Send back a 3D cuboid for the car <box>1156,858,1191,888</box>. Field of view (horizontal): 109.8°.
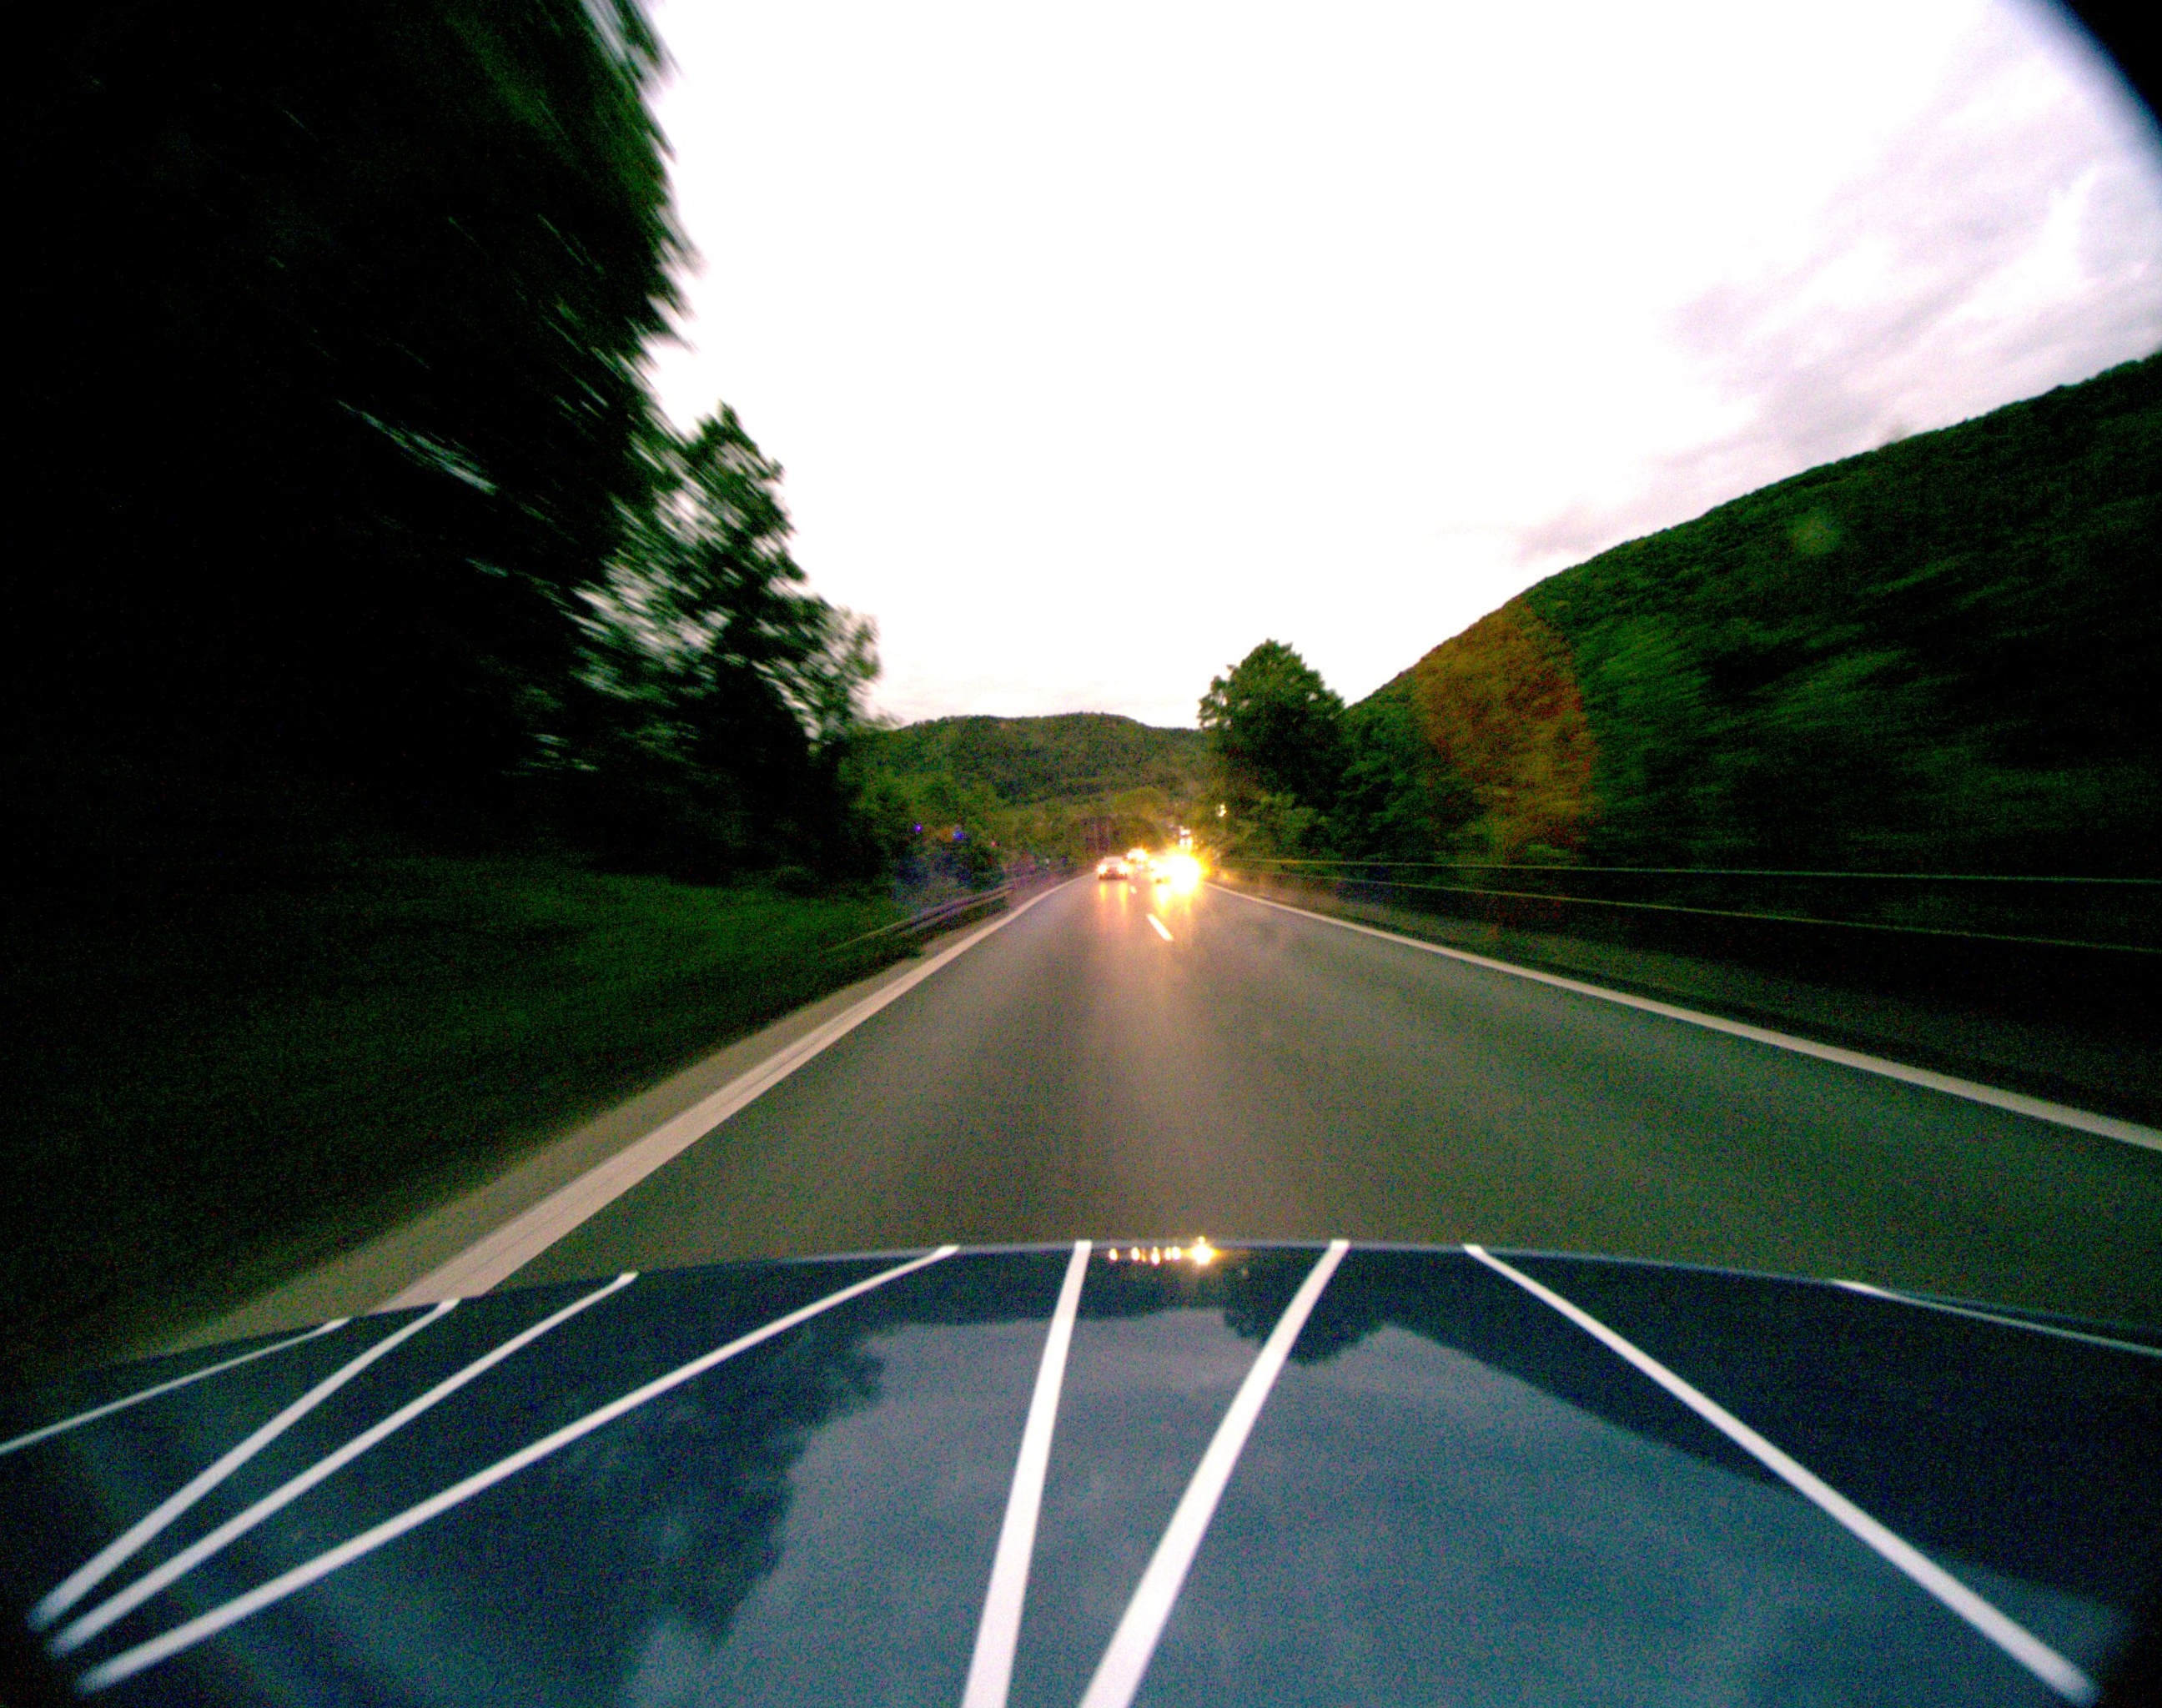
[{"bbox_3d":[5.068,1.018,42.004,1.690,1.460,3.768,-2,1,4],"label":"car"}]

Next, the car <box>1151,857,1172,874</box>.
[{"bbox_3d":[7.523,1.057,71.519,1.690,1.425,3.669,-3,1,3],"label":"car"}]

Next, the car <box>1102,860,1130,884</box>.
[{"bbox_3d":[2.321,1.171,50.584,1.690,1.443,3.669,-3,1,2],"label":"car"}]

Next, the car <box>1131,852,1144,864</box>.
[{"bbox_3d":[8.044,0.580,107.891,1.737,1.641,3.669,-2,1,4],"label":"car"}]
